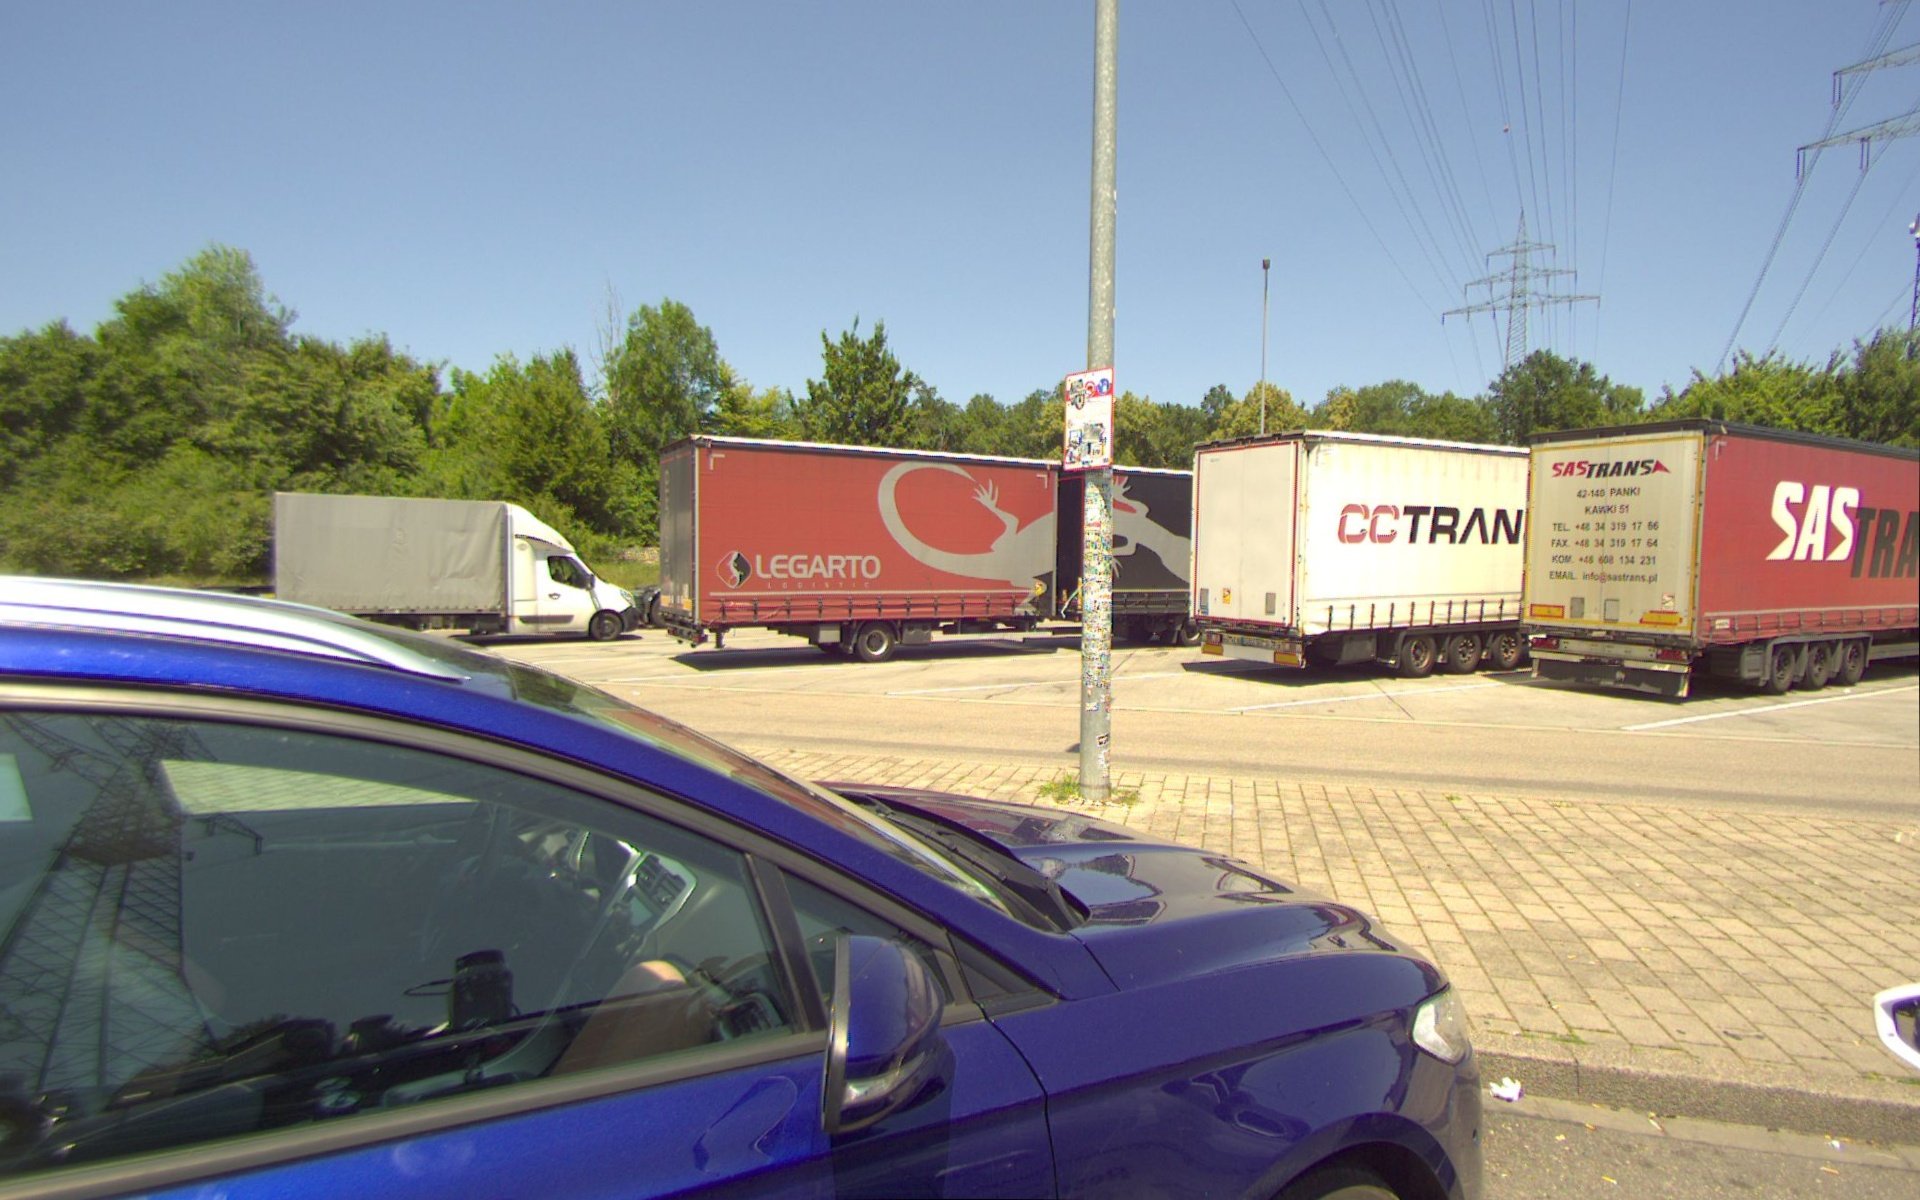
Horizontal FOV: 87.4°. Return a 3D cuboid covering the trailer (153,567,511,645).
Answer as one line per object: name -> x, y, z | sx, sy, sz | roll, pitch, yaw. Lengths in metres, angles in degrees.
trailer -> -15.159, 0.060, 24.905 | 7.204, 1.711, 2.249 | -1, 3, -29

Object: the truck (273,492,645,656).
truck -> -11.184, -0.622, 23.036 | 7.204, 3.279, 2.727 | -1, 3, -29

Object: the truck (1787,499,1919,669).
truck -> 21.215, -0.398, 22.017 | 5.829, 3.373, 2.837 | -1, 3, -30

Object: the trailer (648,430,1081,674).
trailer -> -1.738, -0.899, 20.341 | 8.376, 4.141, 2.722 | -1, 3, -30

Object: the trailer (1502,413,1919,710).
trailer -> 15.612, -0.695, 18.739 | 13.962, 4.141, 2.777 | -1, 3, -30

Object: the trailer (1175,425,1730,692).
trailer -> 10.592, -0.802, 20.350 | 13.962, 4.141, 2.782 | -1, 3, -30

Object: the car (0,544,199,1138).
car -> -4.605, 0.605, 2.238 | 4.444, 1.520, 1.762 | 0, 2, -32

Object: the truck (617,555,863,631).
truck -> -6.342, -0.229, 29.286 | 6.733, 2.041, 1.987 | -1, 1, -26

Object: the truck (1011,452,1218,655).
truck -> 3.575, -1.067, 23.463 | 3.947, 4.298, 2.723 | -1, 3, -30

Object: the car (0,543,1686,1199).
car -> -1.028, 0.681, 1.506 | 4.444, 1.511, 1.859 | 0, 2, -32
